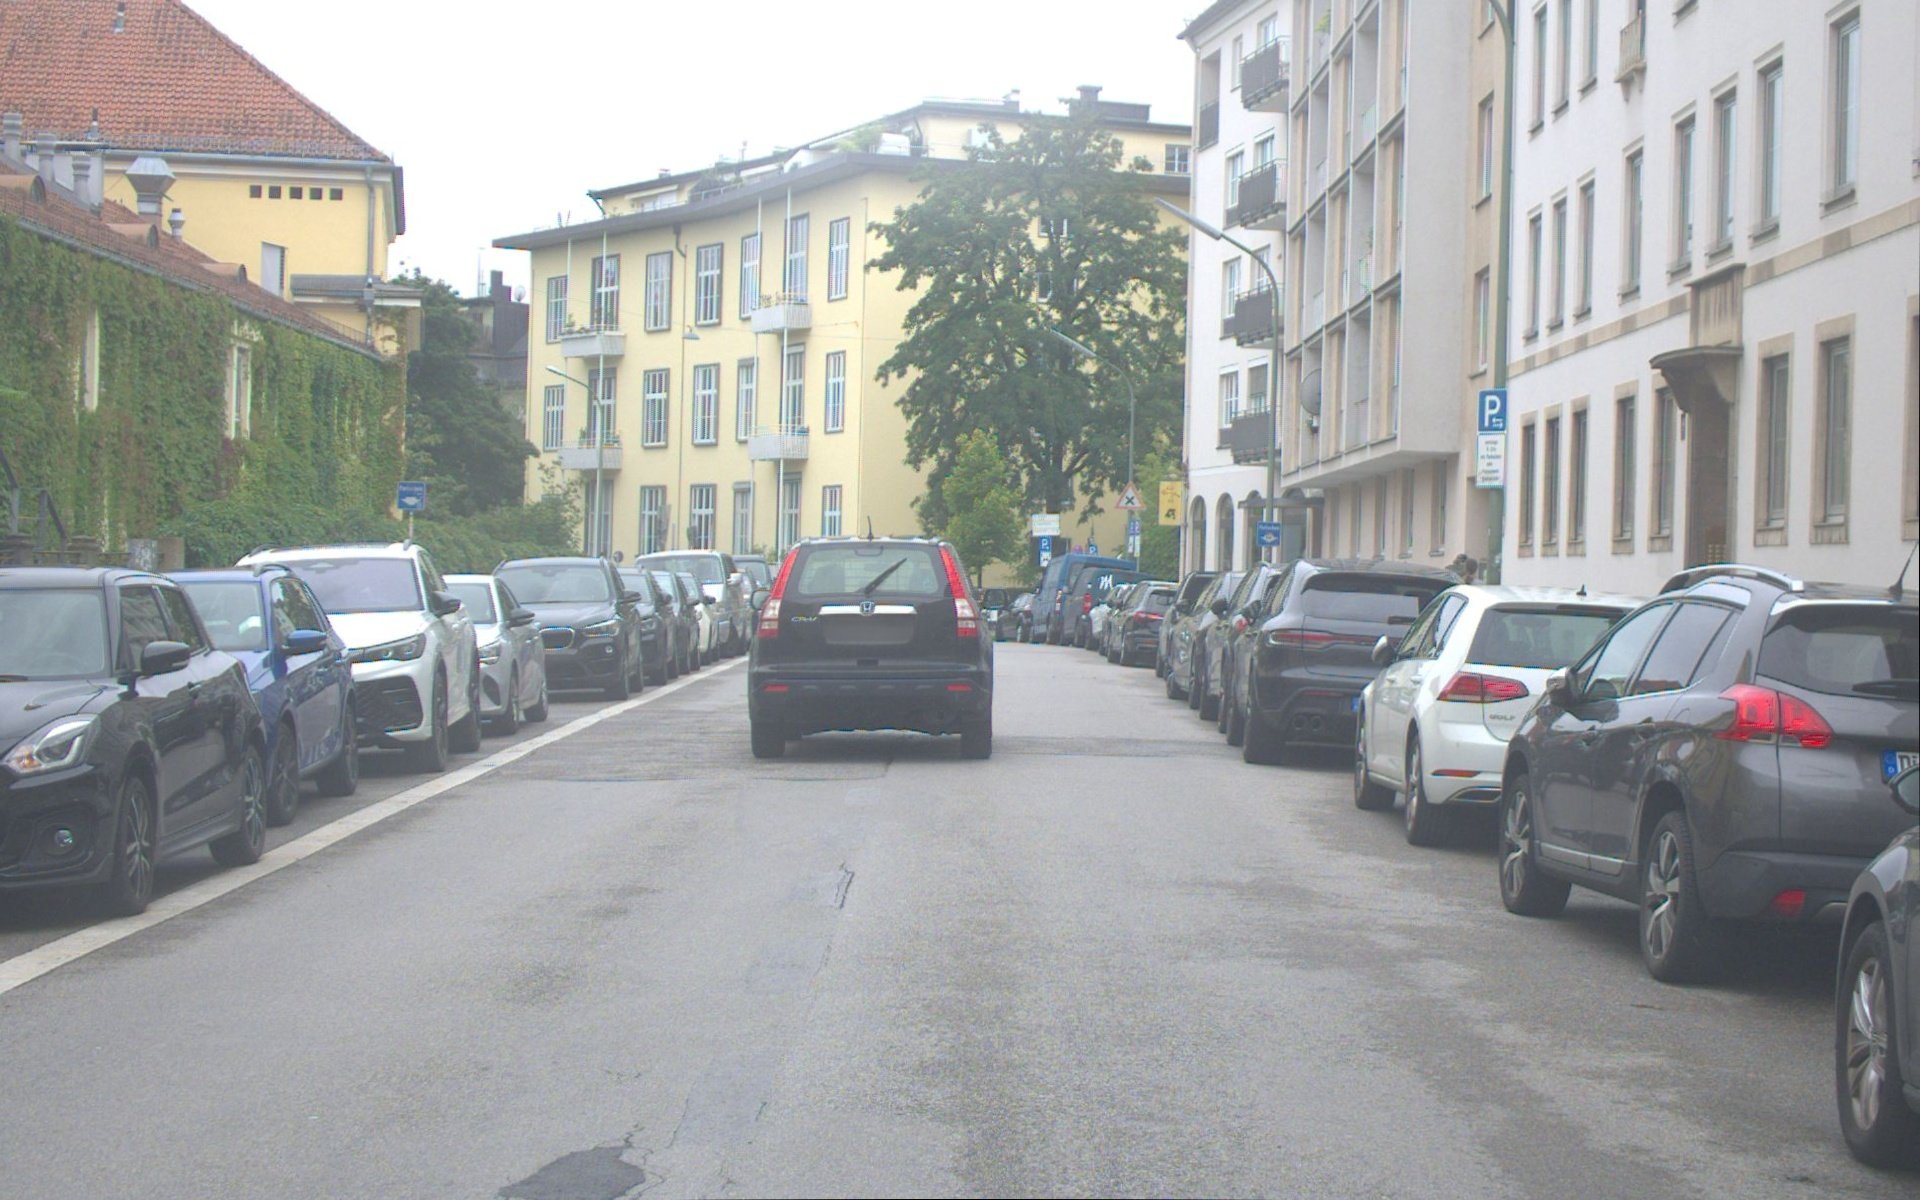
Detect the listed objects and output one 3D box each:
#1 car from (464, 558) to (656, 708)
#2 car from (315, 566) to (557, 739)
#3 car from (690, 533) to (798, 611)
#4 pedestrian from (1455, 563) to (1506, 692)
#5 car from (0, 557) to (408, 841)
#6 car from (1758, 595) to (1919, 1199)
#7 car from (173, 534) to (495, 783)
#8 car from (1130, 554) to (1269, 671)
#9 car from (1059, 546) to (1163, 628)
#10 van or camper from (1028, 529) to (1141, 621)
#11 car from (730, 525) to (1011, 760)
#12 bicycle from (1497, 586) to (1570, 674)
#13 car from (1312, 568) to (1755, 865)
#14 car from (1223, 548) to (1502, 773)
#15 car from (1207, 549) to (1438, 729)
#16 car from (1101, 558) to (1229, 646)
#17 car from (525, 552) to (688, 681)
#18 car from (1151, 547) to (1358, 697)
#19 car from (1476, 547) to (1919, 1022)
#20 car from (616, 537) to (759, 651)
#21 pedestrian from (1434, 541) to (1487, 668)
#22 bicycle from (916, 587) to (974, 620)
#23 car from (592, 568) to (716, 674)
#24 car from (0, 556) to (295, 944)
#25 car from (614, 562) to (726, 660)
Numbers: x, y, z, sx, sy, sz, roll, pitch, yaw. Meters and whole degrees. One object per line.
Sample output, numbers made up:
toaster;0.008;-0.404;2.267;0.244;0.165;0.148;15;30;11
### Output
car;-4.433;0.326;38.632;1.781;1.532;4.196;1;1;-2
car;-4.632;0.423;30.847;1.680;1.421;3.895;-1;1;-2
car;-4.115;-0.557;66.031;1.701;1.418;4.425;1;1;1
pedestrian;6.498;0.339;42.928;0.531;1.579;0.560;1;1;0
car;-4.499;0.516;20.778;1.680;1.500;3.974;-1;1;0
car;3.015;0.781;7.215;1.692;1.446;4.083;4;1;1
car;-4.498;0.361;25.273;1.680;1.628;4.357;-1;1;-2
car;3.310;0.145;48.047;1.671;1.529;3.881;1;1;0
car;3.468;-0.325;79.782;1.964;1.810;4.936;1;1;-2
van or camper;3.053;-0.647;85.501;2.060;2.223;5.439;0;1;-6
car;-0.612;0.275;26.892;1.995;1.688;4.380;0;1;1
bicycle;7.785;0.395;46.729;0.659;1.159;2.028;0;0;0
car;3.247;0.600;20.245;1.692;1.459;4.083;4;1;-2
car;3.085;0.410;27.137;1.778;1.579;4.329;2;1;2
car;3.342;0.309;32.386;1.778;1.579;4.271;0;1;1
car;3.435;0.002;58.298;1.796;1.416;4.483;0;1;-2
car;-4.526;0.171;44.483;1.781;1.532;4.149;1;1;-2
car;3.200;0.190;38.171;1.856;1.539;4.816;0;1;0
car;3.342;0.634;13.777;1.692;1.578;4.083;4;1;-2
car;-4.684;-0.137;59.713;1.993;1.869;4.758;1;1;1
pedestrian;6.593;0.054;45.310;0.596;1.648;0.630;0;1;0
bicycle;-0.536;0.119;123.260;2.215;1.113;0.609;2;0;41
car;-4.383;0.272;49.671;1.578;1.450;3.905;0;1;-2
car;-4.213;0.576;15.402;1.680;1.490;3.986;-1;1;0
car;-4.580;0.144;54.687;1.578;1.487;3.730;0;1;-2
